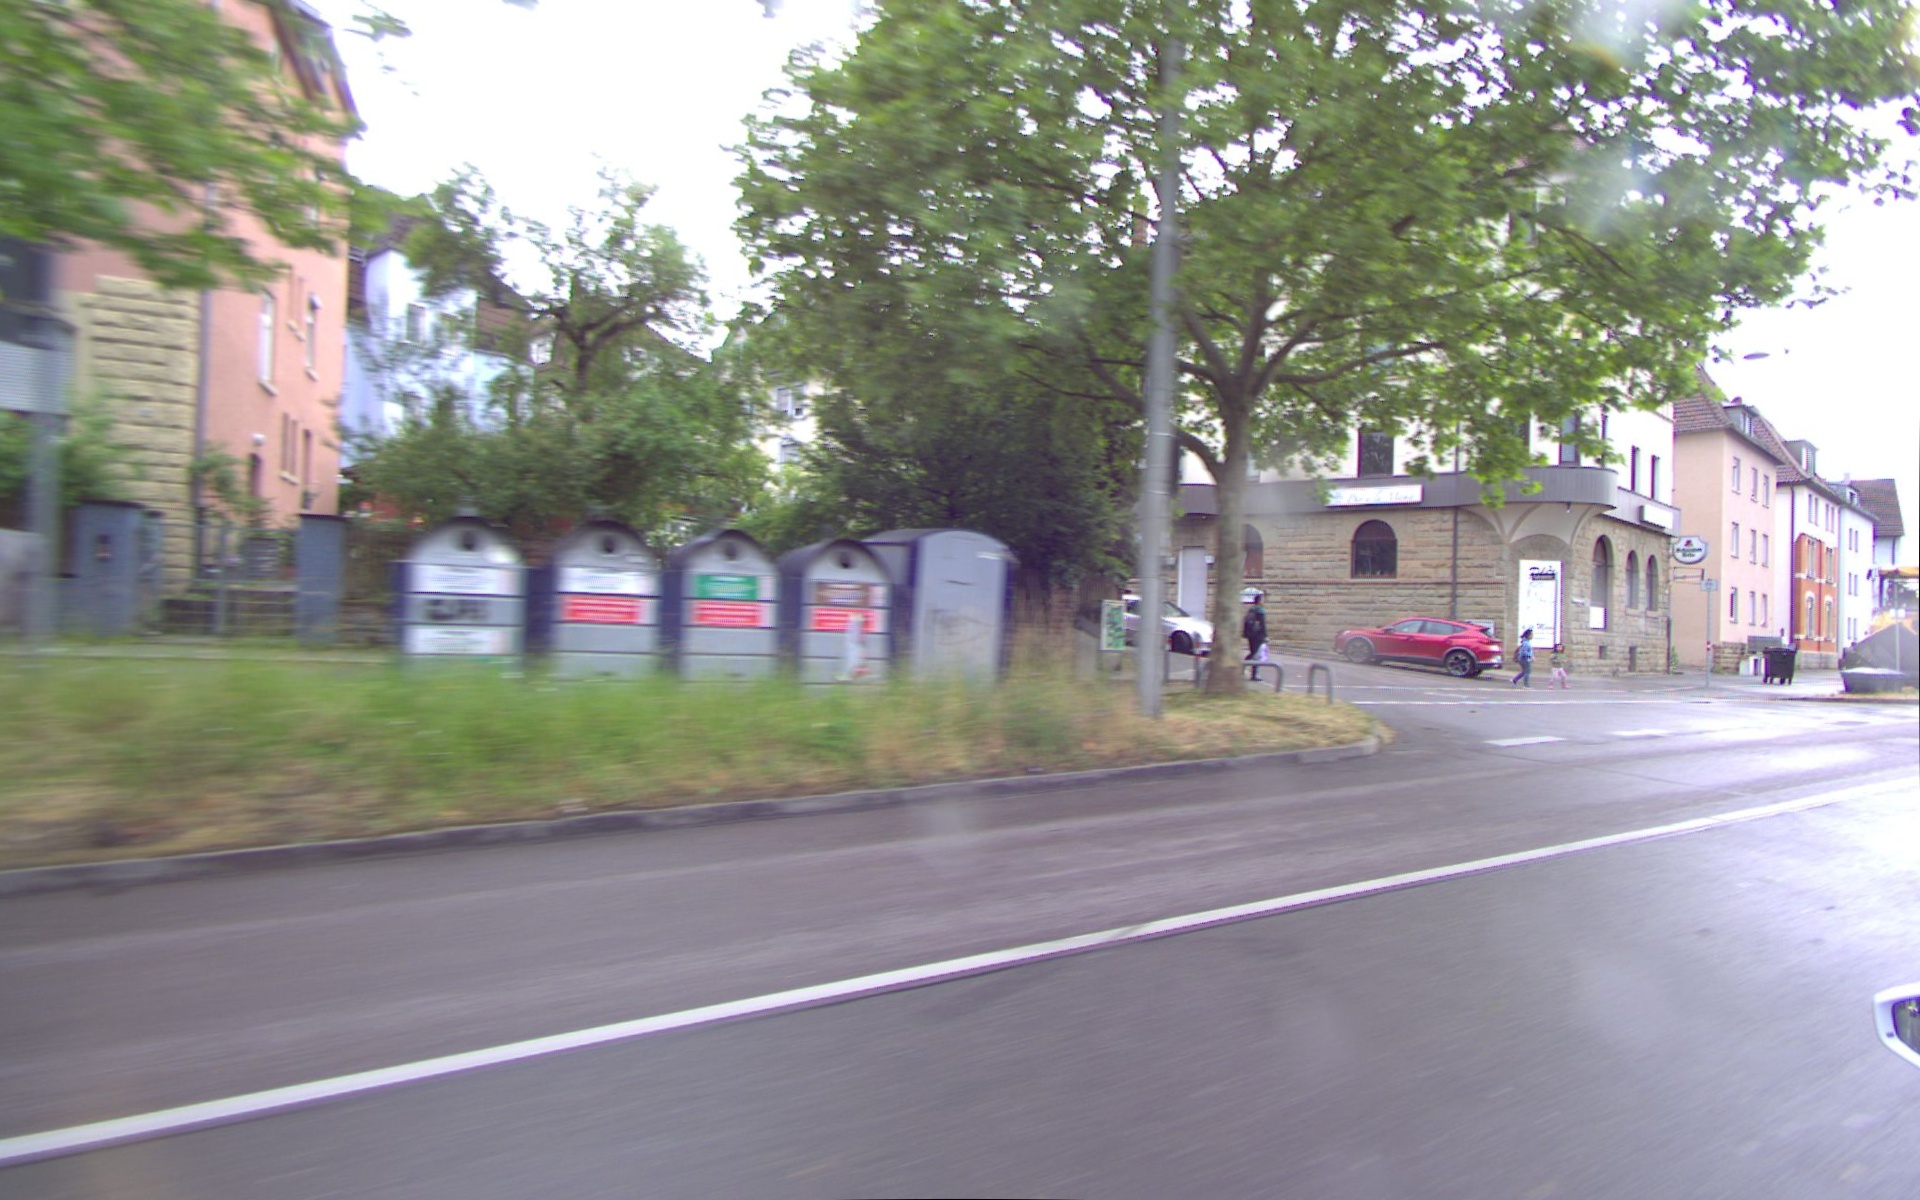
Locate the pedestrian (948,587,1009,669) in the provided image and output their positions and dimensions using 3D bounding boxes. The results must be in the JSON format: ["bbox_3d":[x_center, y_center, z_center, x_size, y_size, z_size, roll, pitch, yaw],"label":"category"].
[{"bbox_3d":[0.308,0.472,17.368,0.780,1.373,0.788,0,1,-24],"label":"pedestrian"}]

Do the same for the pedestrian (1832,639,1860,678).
[{"bbox_3d":[38.413,2.541,43.550,1.083,1.610,0.757,0,1,-41],"label":"pedestrian"}]

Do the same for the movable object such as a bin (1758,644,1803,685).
[{"bbox_3d":[27.165,2.112,33.281,0.877,1.239,1.202,1,1,26],"label":"movable object such as a bin"}]

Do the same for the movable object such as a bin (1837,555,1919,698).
[{"bbox_3d":[28.460,0.733,29.504,5.929,3.908,2.755,0,1,-36],"label":"movable object such as a bin"}]

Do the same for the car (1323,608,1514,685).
[{"bbox_3d":[12.883,1.243,28.356,4.474,1.595,1.929,6,3,38],"label":"car"}]

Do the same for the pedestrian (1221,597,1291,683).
[{"bbox_3d":[5.937,0.773,20.143,0.983,1.652,0.883,0,1,-28],"label":"pedestrian"}]

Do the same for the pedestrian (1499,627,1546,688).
[{"bbox_3d":[13.919,1.415,24.866,0.791,1.420,0.783,1,1,14],"label":"pedestrian"}]

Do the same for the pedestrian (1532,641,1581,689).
[{"bbox_3d":[14.986,1.631,25.251,0.718,1.139,0.743,1,1,-8],"label":"pedestrian"}]

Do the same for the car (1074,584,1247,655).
[{"bbox_3d":[5.413,0.487,27.441,4.205,1.404,1.877,8,5,42],"label":"car"}]
